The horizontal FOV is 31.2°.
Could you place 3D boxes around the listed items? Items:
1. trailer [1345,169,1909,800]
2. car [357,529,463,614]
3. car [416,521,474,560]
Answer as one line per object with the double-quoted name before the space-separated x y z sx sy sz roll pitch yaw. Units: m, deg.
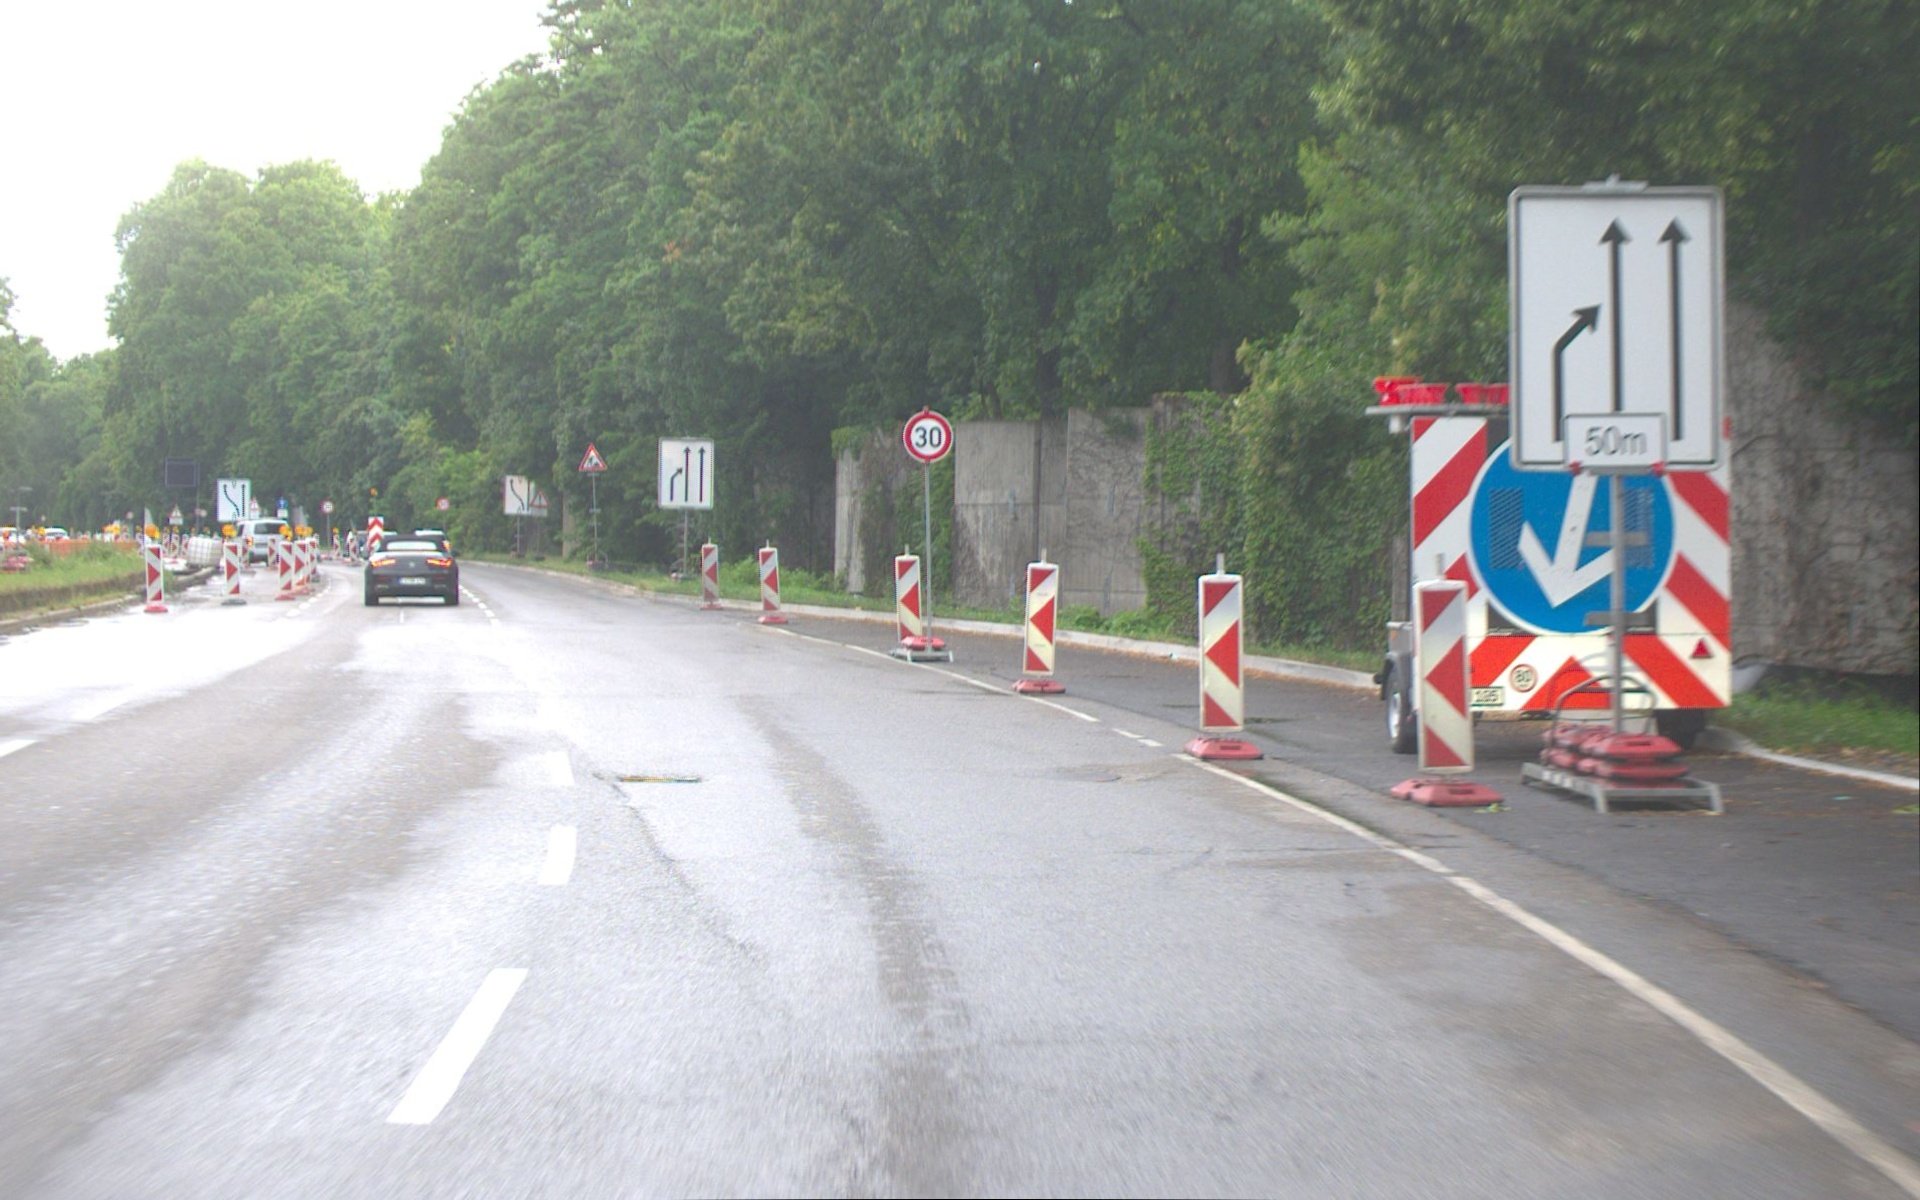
"trailer" 4.134 -0.689 22.539 2.307 3.577 5.960 0 1 -2
"car" -11.063 -0.594 69.324 1.861 1.486 4.001 2 3 -6
"car" -21.939 -2.564 146.439 1.913 1.592 4.835 1 1 -15
